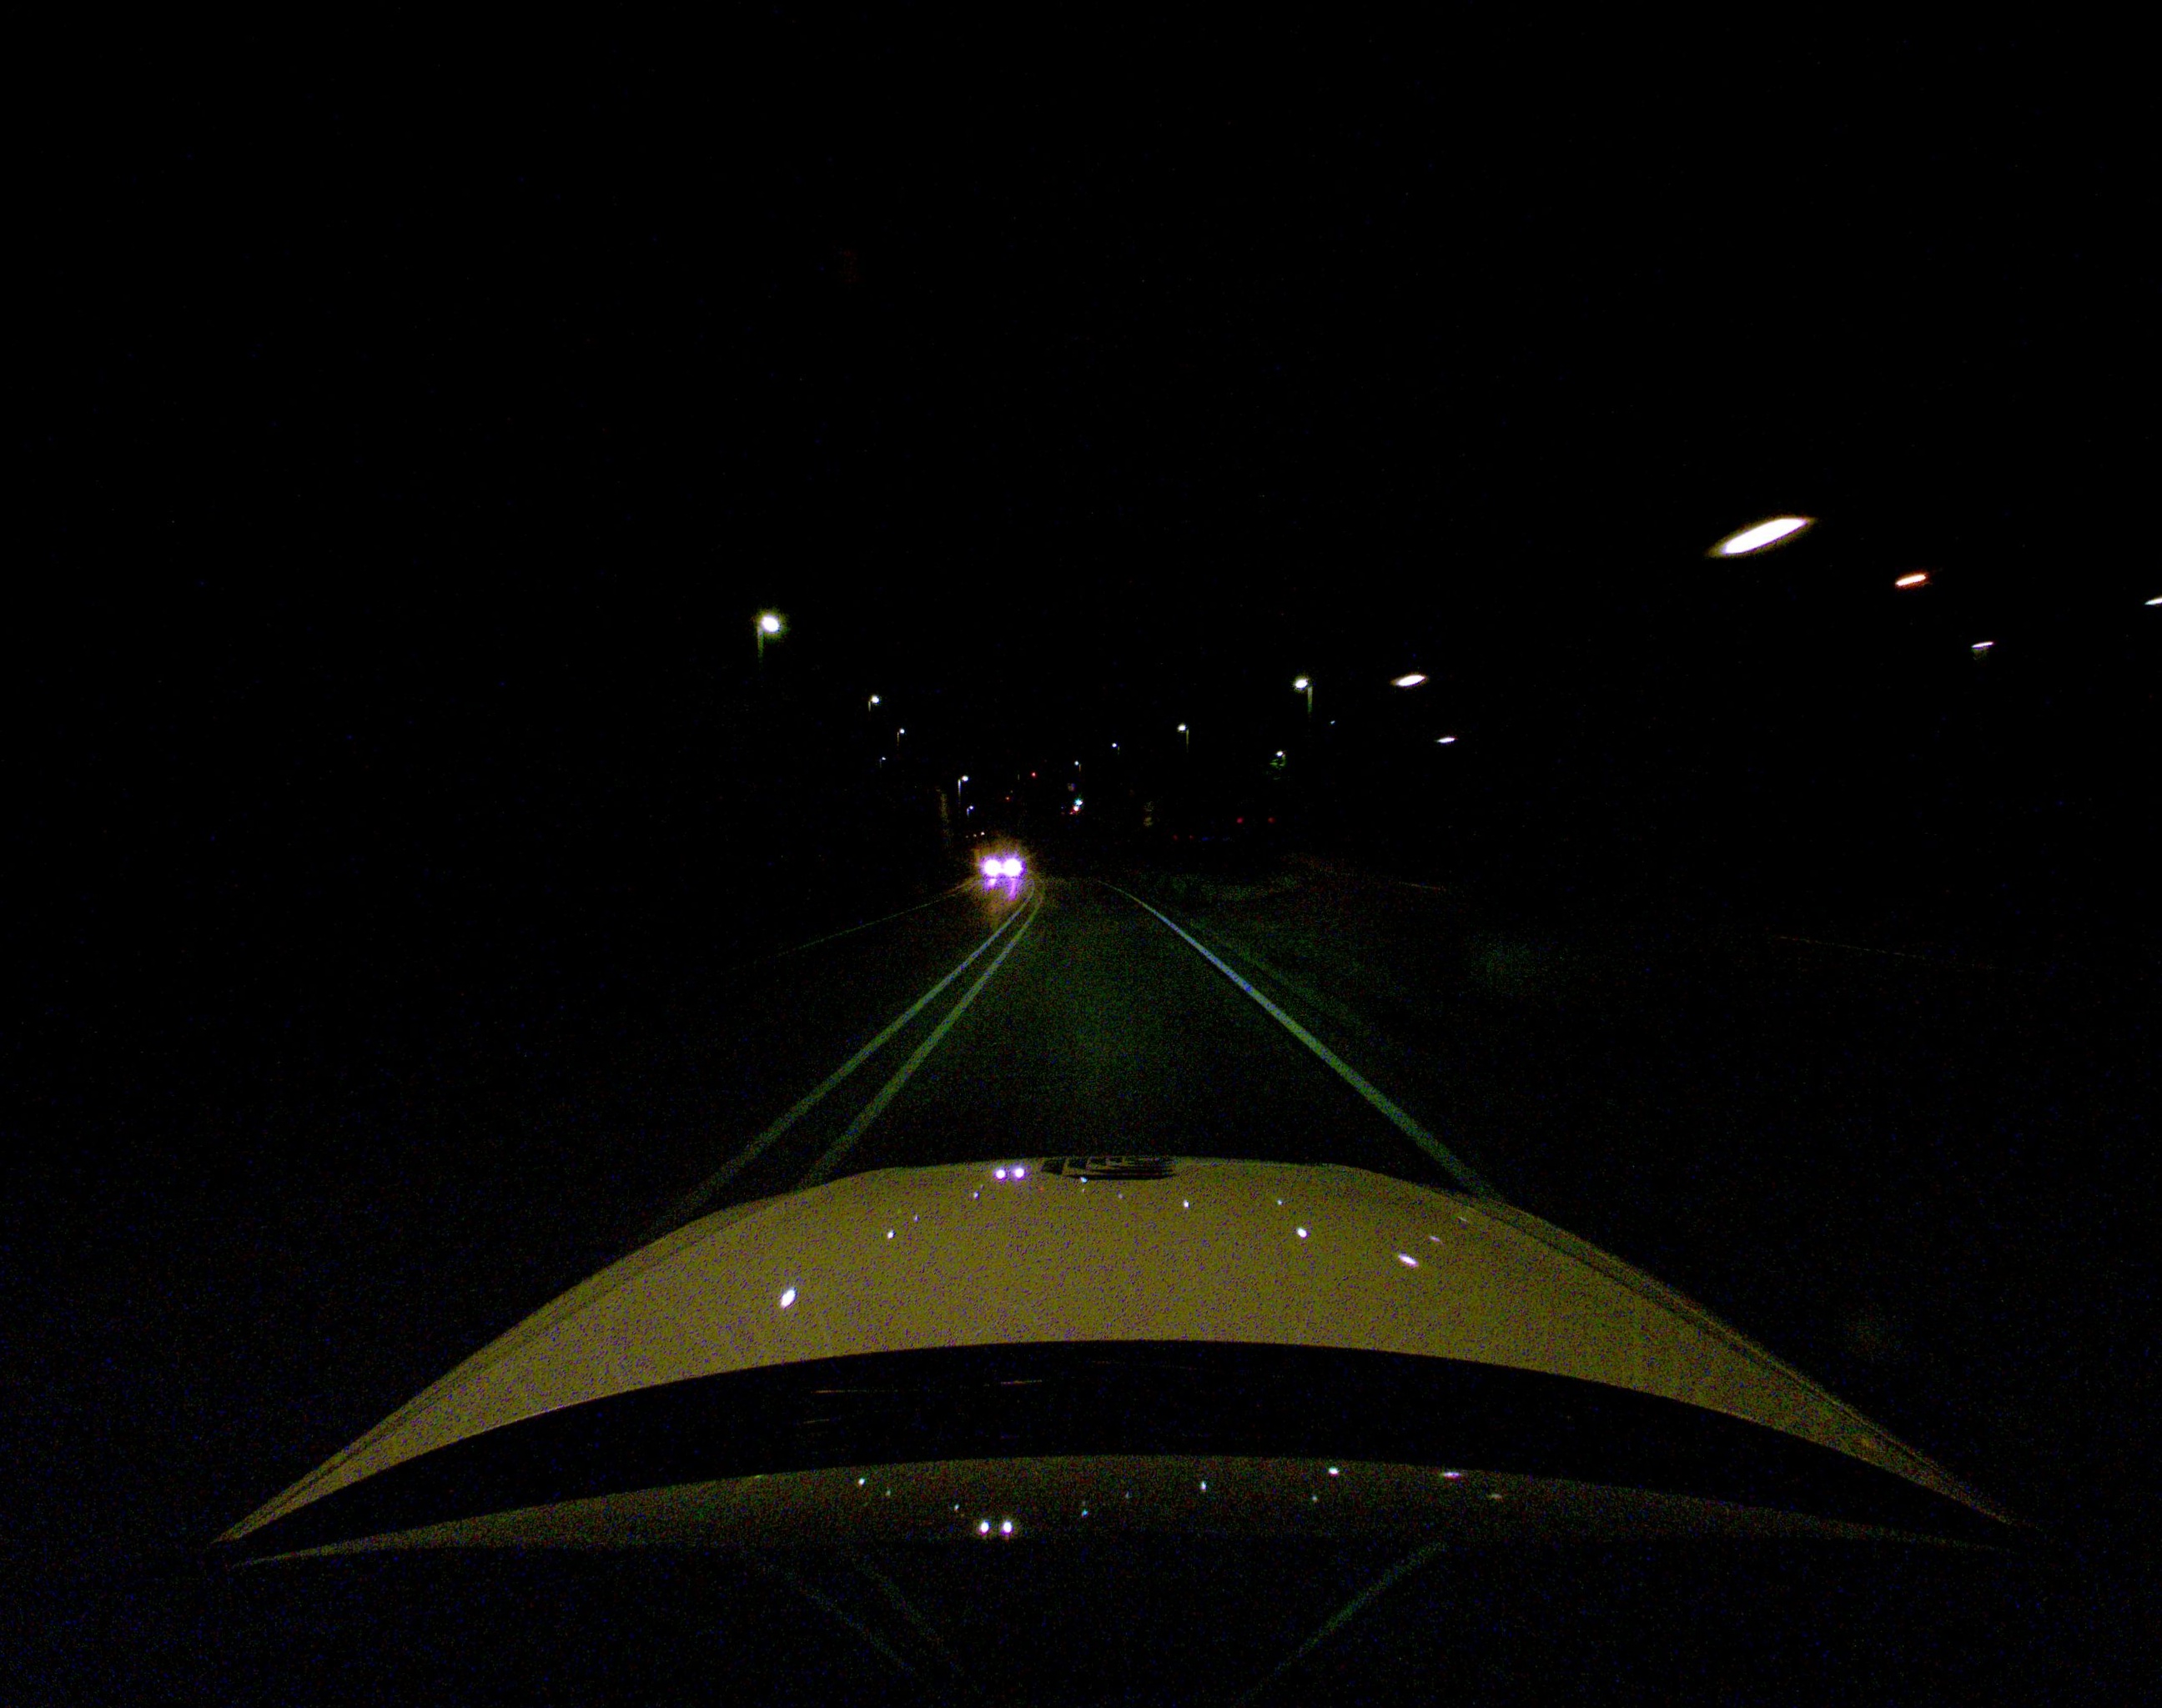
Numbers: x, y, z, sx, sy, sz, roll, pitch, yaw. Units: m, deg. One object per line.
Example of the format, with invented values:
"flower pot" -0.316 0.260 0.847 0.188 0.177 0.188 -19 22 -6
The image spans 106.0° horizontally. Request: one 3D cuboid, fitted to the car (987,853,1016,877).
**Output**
"car" -5.328 0.721 55.054 1.855 1.510 3.994 -1 0 -4
